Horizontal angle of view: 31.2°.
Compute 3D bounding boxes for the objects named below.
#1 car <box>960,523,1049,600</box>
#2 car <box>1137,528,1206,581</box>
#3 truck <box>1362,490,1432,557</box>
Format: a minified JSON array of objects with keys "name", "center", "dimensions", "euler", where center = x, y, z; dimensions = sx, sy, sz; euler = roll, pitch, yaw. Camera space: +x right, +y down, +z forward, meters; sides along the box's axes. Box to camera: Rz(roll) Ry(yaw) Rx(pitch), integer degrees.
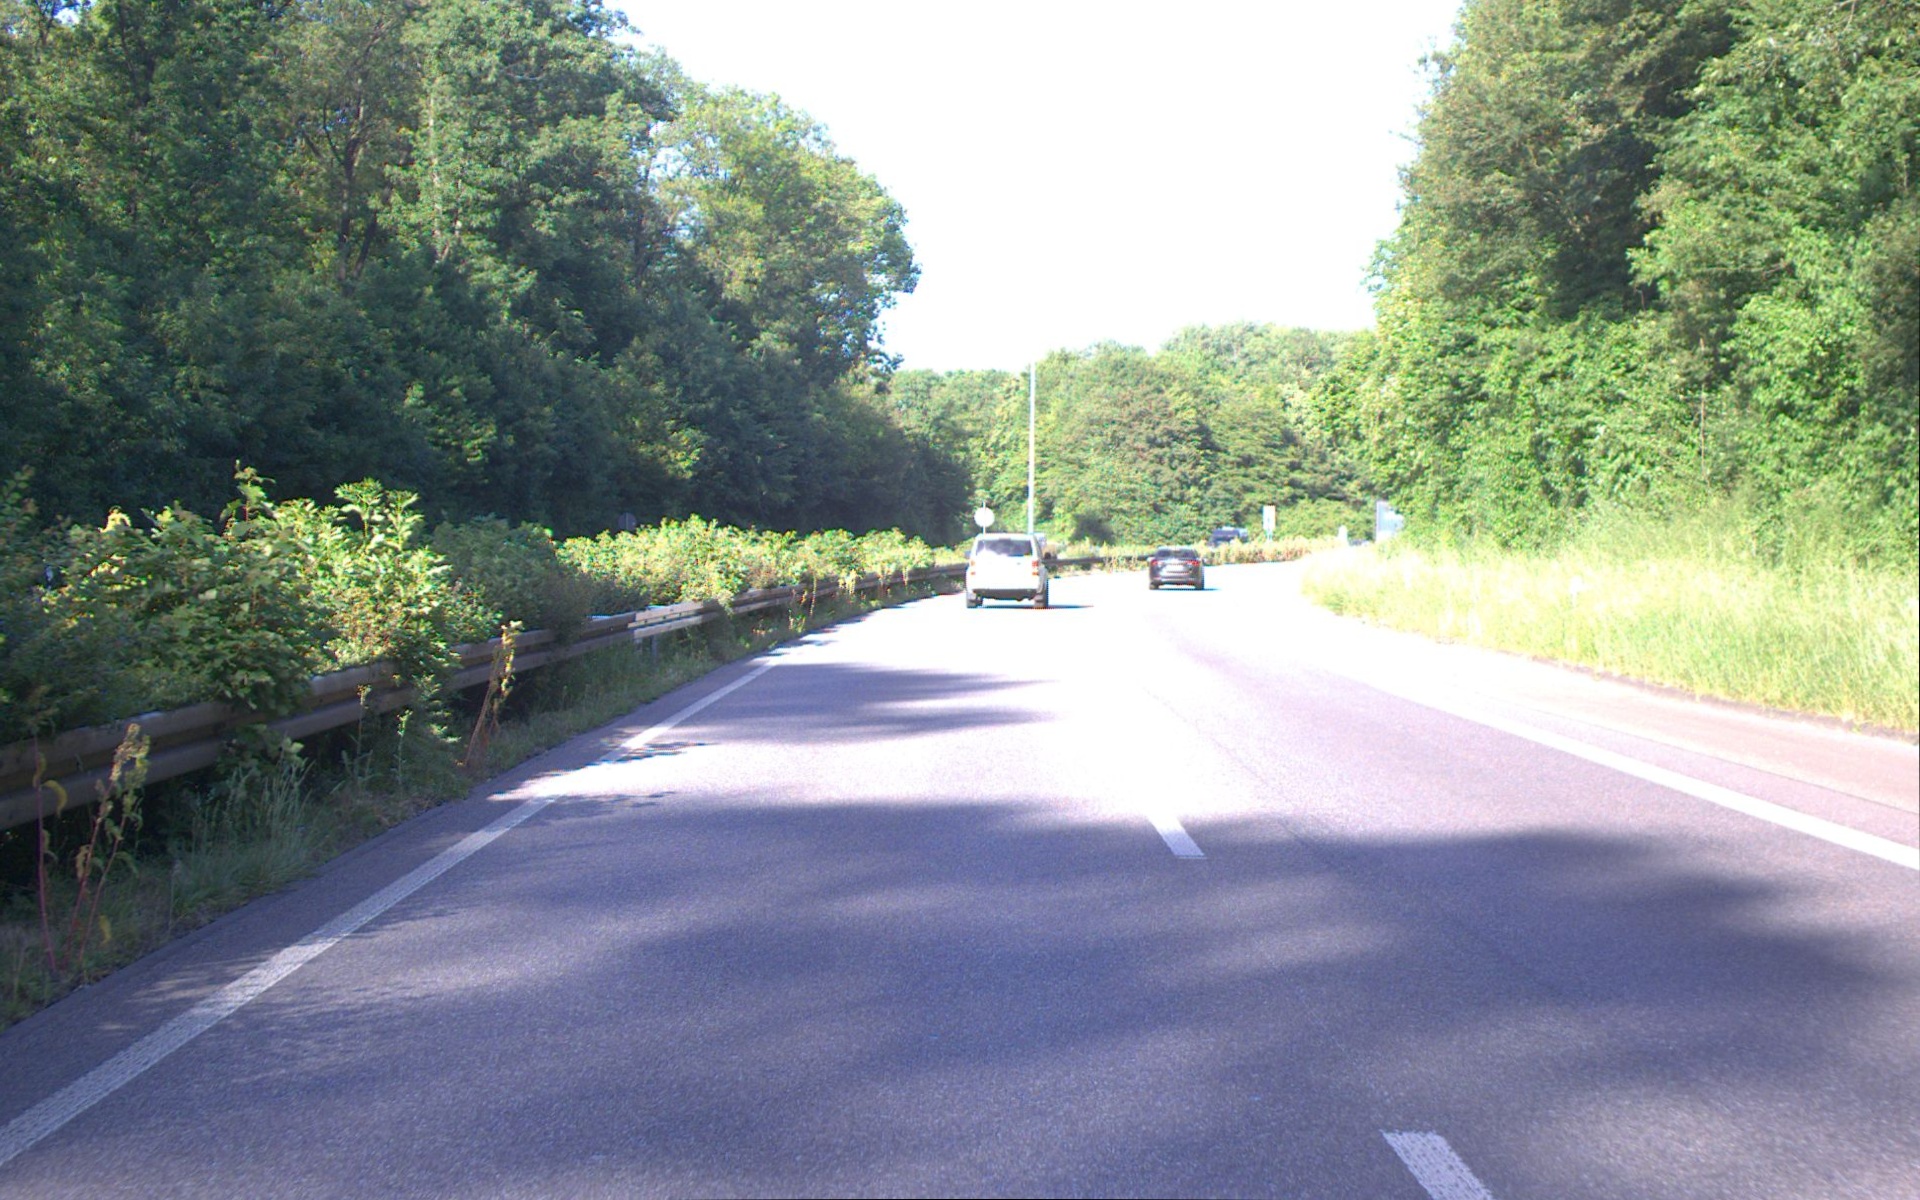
[{"name":"car","center":[1.029,-0.935,82.217],"dimensions":[1.951,1.776,4.588],"euler":[1,1,-1]},{"name":"car","center":[7.178,-1.549,116.945],"dimensions":[1.951,1.776,4.588],"euler":[1,1,-1]},{"name":"truck","center":[29.154,-5.029,228.938],"dimensions":[3.736,4.328,9.299],"euler":[1,1,12]}]
